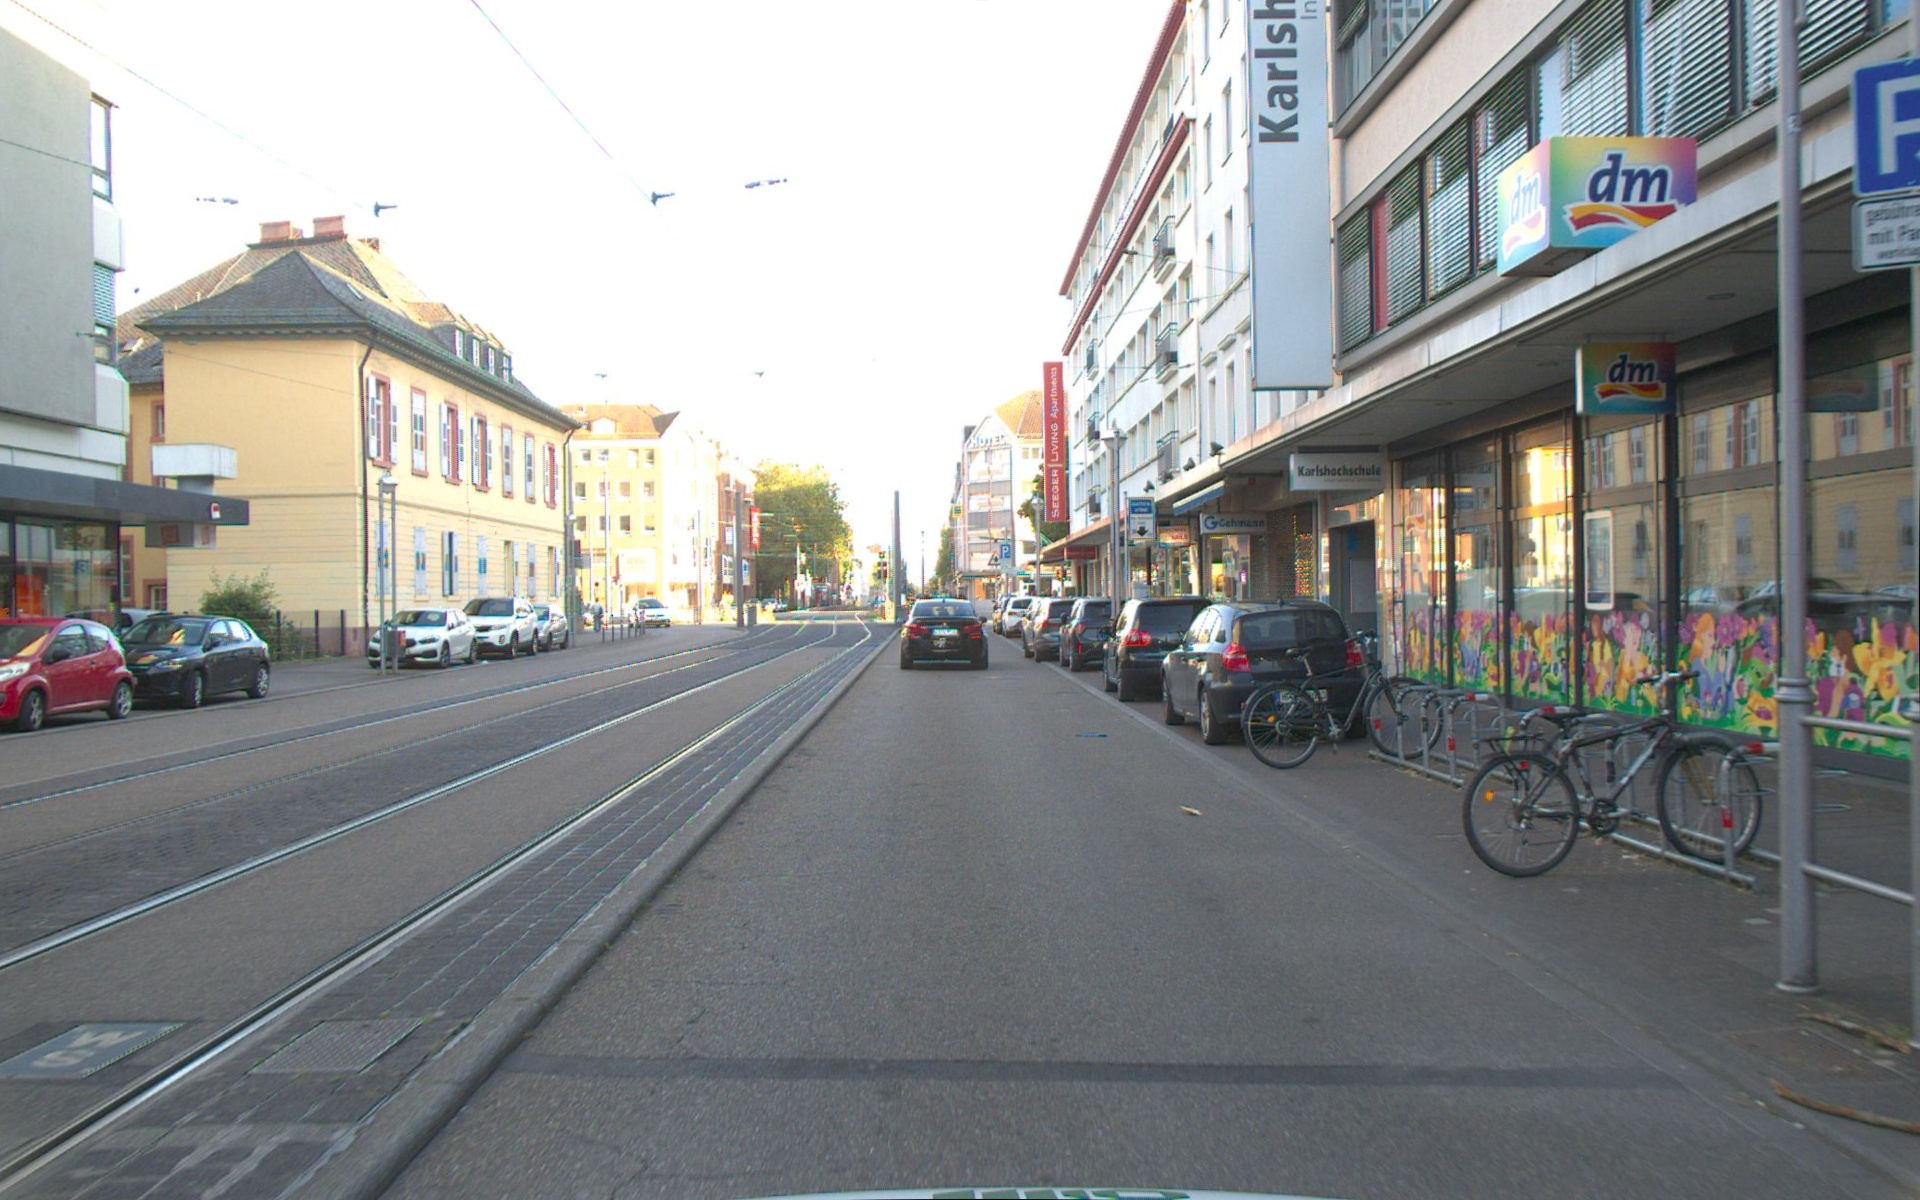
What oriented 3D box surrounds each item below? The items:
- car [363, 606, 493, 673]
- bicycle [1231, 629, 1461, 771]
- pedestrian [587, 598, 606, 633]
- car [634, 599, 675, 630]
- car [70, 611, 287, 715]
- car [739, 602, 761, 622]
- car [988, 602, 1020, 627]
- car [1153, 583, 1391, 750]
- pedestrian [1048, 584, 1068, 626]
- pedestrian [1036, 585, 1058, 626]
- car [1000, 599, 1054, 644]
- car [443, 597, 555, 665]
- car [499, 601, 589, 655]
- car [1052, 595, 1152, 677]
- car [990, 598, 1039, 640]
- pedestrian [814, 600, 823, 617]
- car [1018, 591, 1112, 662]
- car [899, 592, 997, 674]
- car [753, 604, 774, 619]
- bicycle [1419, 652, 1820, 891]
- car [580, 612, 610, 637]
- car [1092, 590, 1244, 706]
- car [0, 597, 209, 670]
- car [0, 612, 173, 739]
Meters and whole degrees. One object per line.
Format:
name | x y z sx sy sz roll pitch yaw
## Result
car | -13.370 0.963 41.855 1.775 1.538 4.432 -1 0 1
bicycle | 3.399 0.869 14.637 1.848 1.158 0.676 -1 0 -4
pedestrian | -16.819 0.724 76.497 0.717 1.612 0.954 -1 0 -6
car | -16.228 0.753 87.792 1.776 1.538 4.018 -1 0 -15
car | -12.954 0.990 27.714 1.651 1.538 4.214 -1 0 -1
car | -21.976 1.243 173.135 1.954 1.934 4.808 -1 0 -4
car | 2.978 0.980 112.786 1.953 1.579 3.999 -1 0 -1
car | 3.267 0.645 18.117 1.708 1.538 4.257 -2 0 -1
pedestrian | 4.239 0.204 71.511 0.714 1.771 0.863 -2 0 -1
pedestrian | 3.821 0.224 72.673 0.810 1.748 0.843 -2 0 -1
car | 2.431 0.759 60.819 1.749 1.538 4.051 -2 0 -1
car | -13.199 0.857 47.604 1.775 1.817 4.499 2 0 2
car | -13.460 0.878 53.684 1.775 1.645 4.215 -1 0 1
car | 2.894 0.704 34.420 1.651 1.538 4.034 -2 0 -1
car | 2.131 0.718 66.107 1.700 1.538 4.685 -2 0 -1
pedestrian | -17.066 1.077 199.820 0.968 2.049 0.725 1 -1 -3
car | 2.489 0.611 40.147 1.754 1.538 4.710 -2 0 -2
car | -0.284 0.663 35.608 1.953 1.612 3.999 -1 0 -1
car | -21.821 1.255 183.872 1.954 1.612 4.584 -1 0 -3
bicycle | 3.511 0.892 8.891 1.848 1.095 0.676 -3 0 -4
car | -23.299 1.535 105.702 1.704 1.538 4.025 -1 0 -10
car | 3.058 0.660 25.064 1.685 1.538 4.166 -2 0 -1
car | -19.133 0.728 36.875 3.905 1.492 1.846 -1 0 1
car | -12.888 0.982 23.212 1.651 1.538 4.214 1 0 -1
